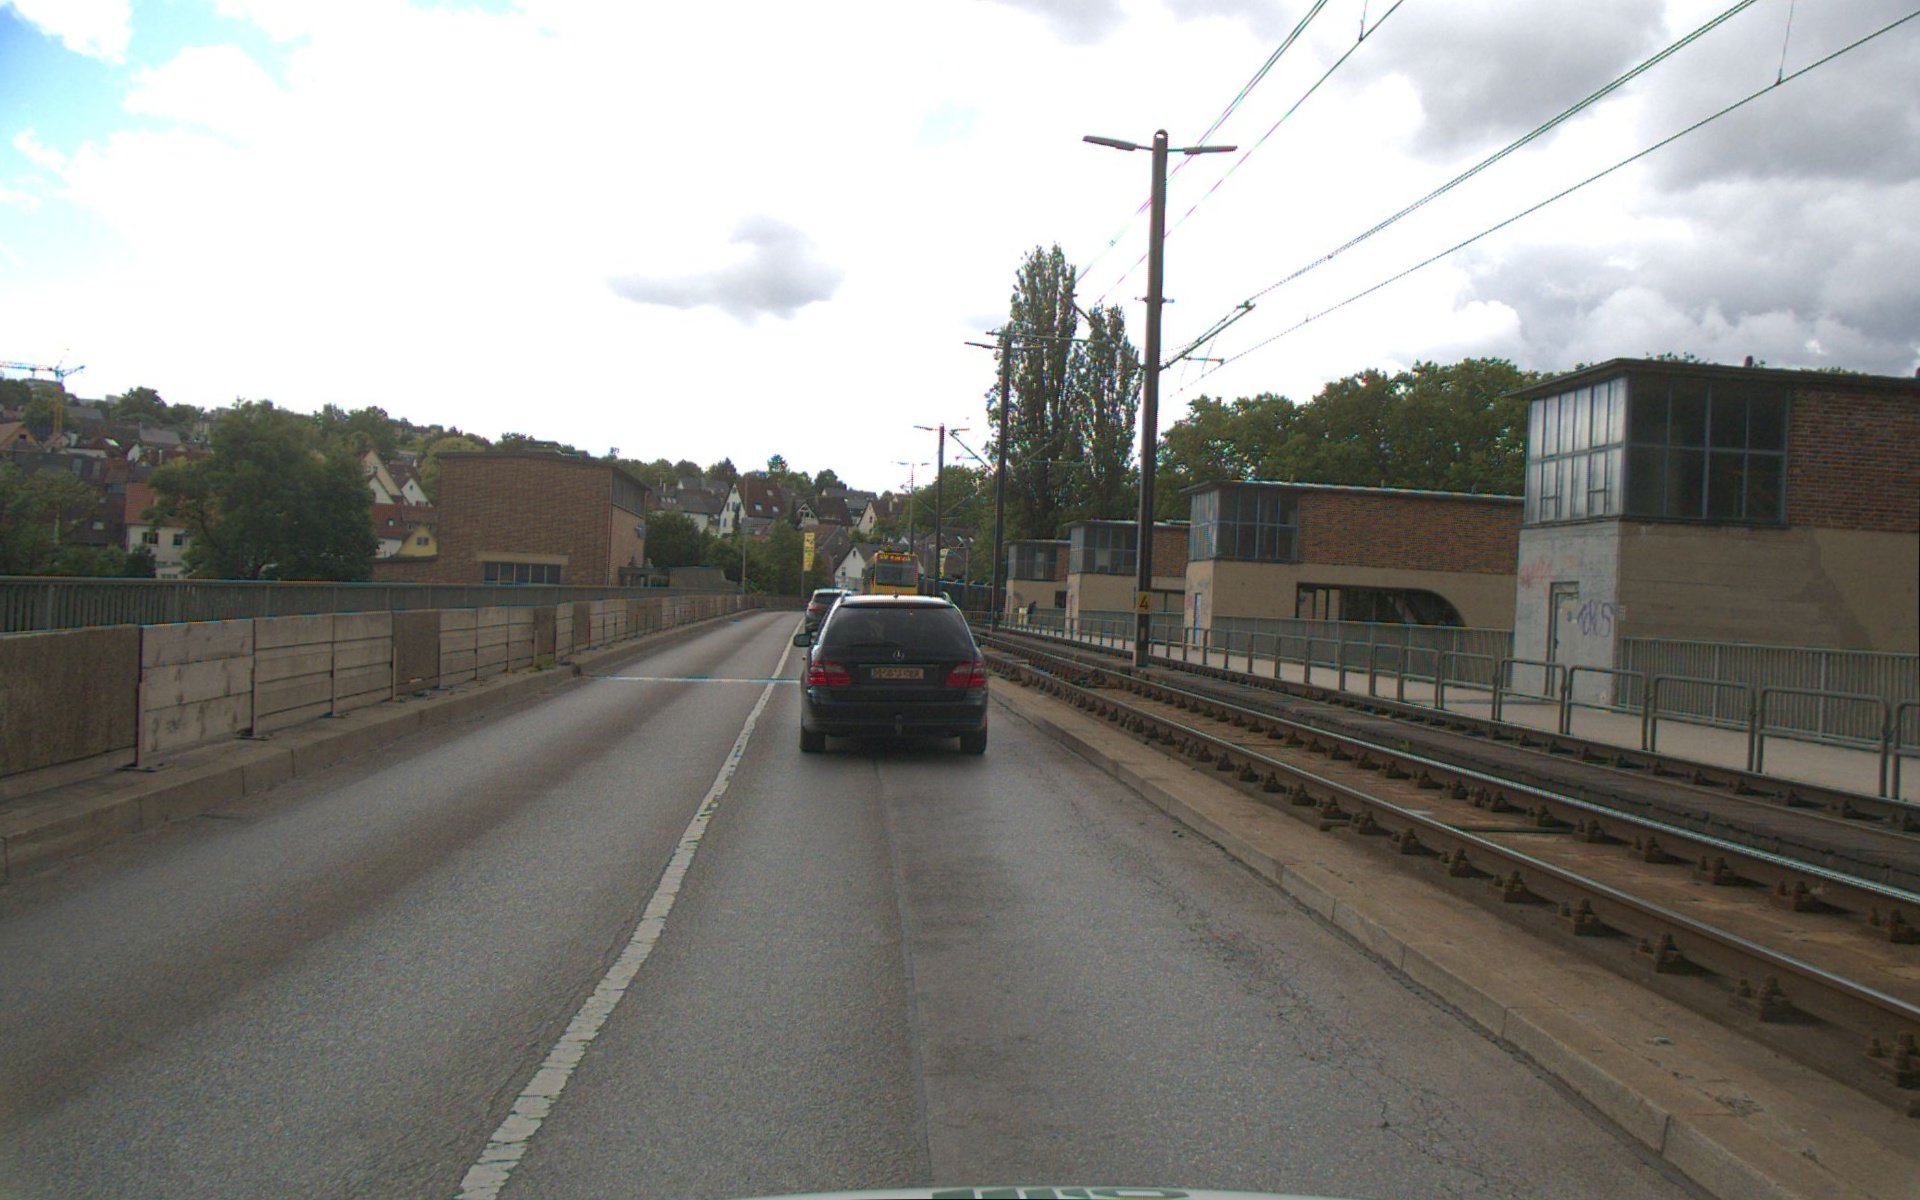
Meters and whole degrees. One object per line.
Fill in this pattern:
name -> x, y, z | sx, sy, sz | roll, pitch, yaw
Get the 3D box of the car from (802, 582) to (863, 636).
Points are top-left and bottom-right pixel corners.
car -> -4.146, 0.265, 53.326 | 1.737, 1.582, 4.234 | 2, 0, -7

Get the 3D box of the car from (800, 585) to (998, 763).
car -> -0.663, 0.639, 16.807 | 1.724, 1.542, 4.439 | 1, 0, -3

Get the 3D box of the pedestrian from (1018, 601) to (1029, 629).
pedestrian -> 3.778, 0.868, 98.054 | 0.566, 1.638, 0.612 | 2, 0, -4

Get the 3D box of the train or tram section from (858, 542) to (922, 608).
train or tram section -> -4.403, -1.437, 99.827 | 2.826, 3.570, 18.645 | 1, 0, -5
